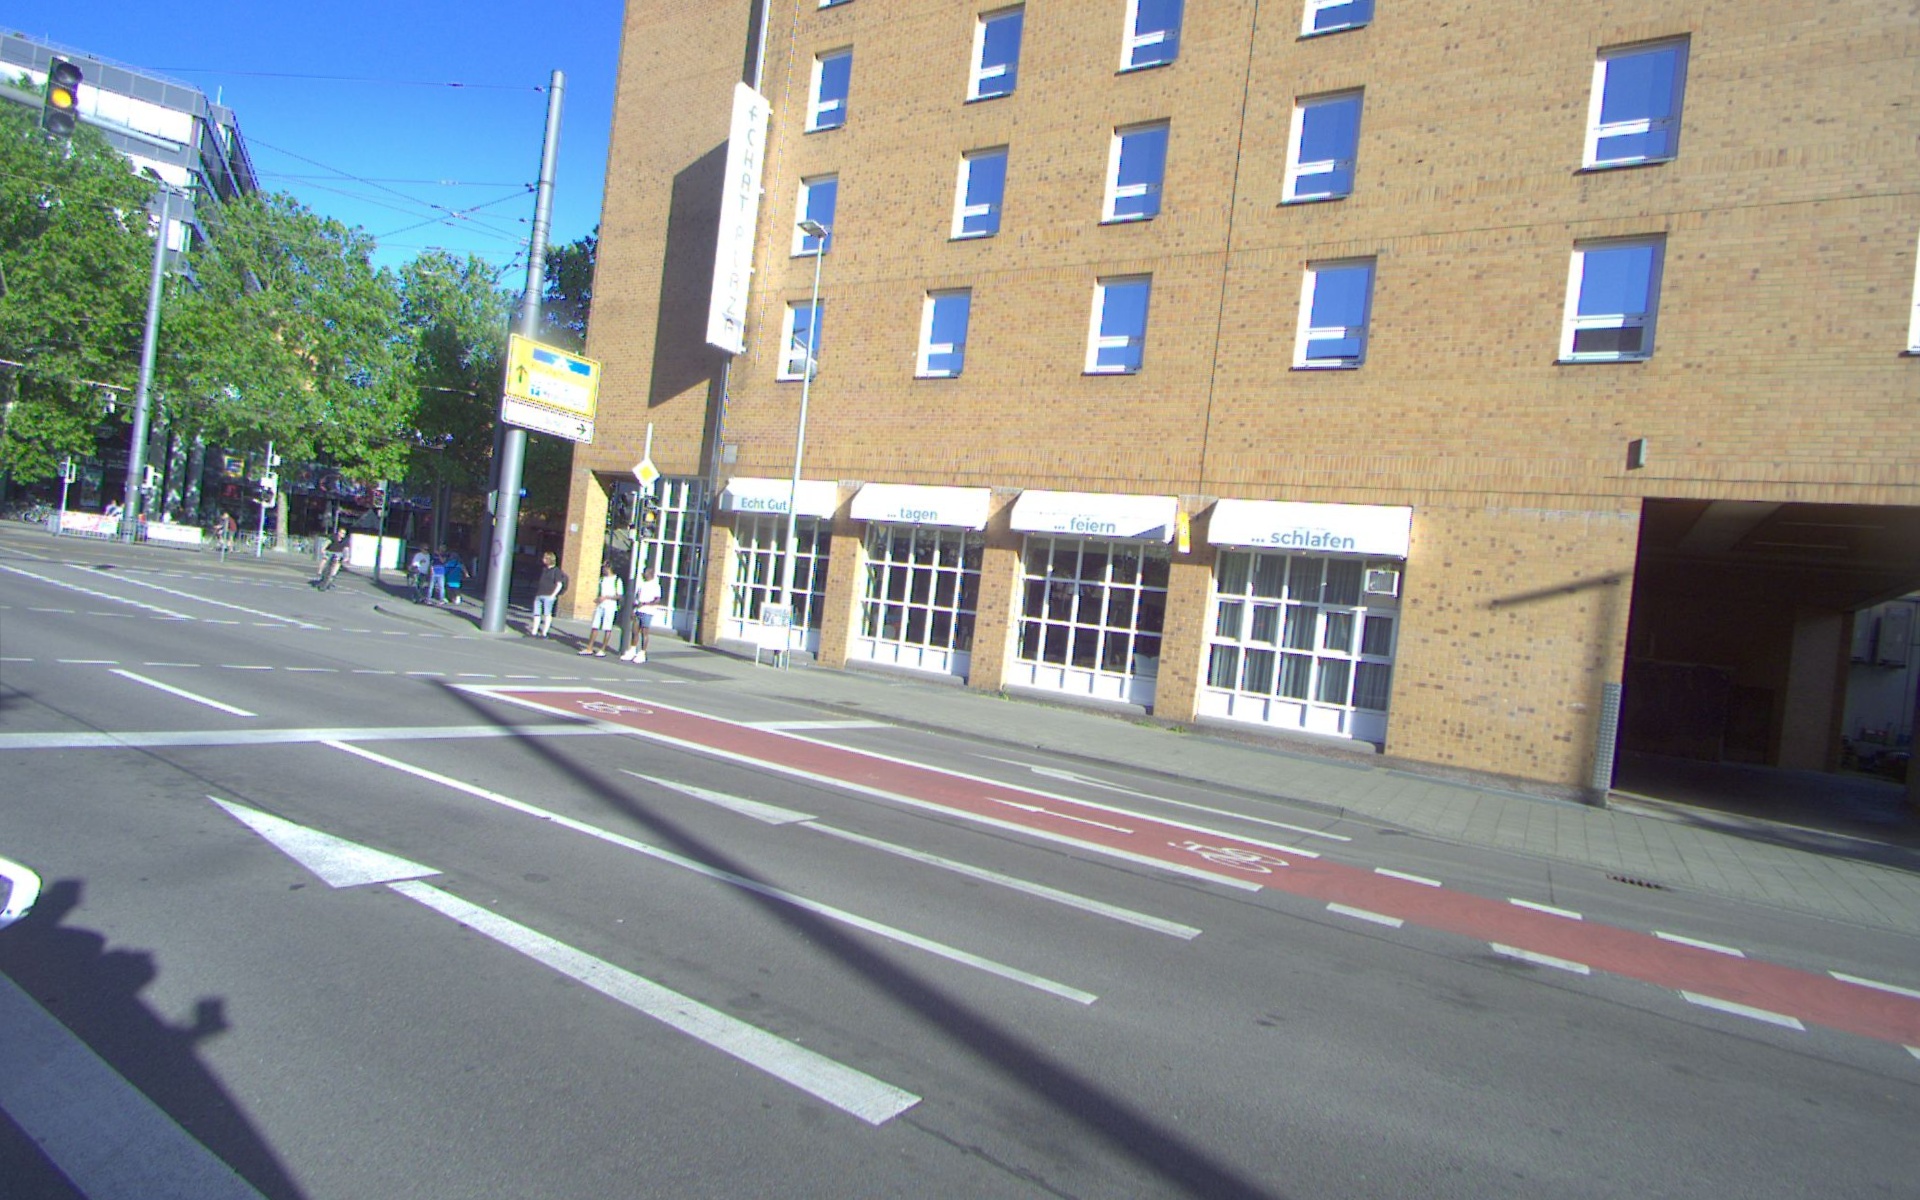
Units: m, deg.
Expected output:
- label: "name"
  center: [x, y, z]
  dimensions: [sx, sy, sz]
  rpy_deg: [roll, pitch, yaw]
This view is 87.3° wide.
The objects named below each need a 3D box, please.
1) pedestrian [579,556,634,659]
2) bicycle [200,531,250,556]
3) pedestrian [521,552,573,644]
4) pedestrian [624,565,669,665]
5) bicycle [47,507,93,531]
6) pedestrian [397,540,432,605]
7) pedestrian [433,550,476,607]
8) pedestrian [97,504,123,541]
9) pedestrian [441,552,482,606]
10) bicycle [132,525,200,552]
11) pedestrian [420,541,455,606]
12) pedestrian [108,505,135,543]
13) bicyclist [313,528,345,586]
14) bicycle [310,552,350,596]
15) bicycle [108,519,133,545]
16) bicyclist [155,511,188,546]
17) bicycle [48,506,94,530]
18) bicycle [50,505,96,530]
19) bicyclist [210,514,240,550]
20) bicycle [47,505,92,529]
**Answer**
- label: "pedestrian"
  center: [-6.649, 0.136, 18.953]
  dimensions: [0.719, 1.857, 0.497]
  rpy_deg: [6, 2, -3]
- label: "bicycle"
  center: [-36.275, -2.775, 49.662]
  dimensions: [0.642, 0.921, 1.854]
  rpy_deg: [7, -1, 36]
- label: "pedestrian"
  center: [-8.535, -0.038, 20.810]
  dimensions: [0.683, 1.789, 0.573]
  rpy_deg: [8, 0, -9]
- label: "pedestrian"
  center: [-5.837, 0.272, 18.727]
  dimensions: [0.568, 1.797, 0.405]
  rpy_deg: [5, 2, -3]
- label: "bicycle"
  center: [-46.672, -4.236, 52.754]
  dimensions: [1.700, 0.998, 0.386]
  rpy_deg: [7, 0, -45]
- label: "pedestrian"
  center: [-15.132, -0.763, 27.926]
  dimensions: [0.555, 1.723, 0.656]
  rpy_deg: [7, -1, -18]
- label: "pedestrian"
  center: [-15.154, -0.642, 30.155]
  dimensions: [0.729, 1.557, 0.677]
  rpy_deg: [7, -1, 24]
- label: "pedestrian"
  center: [-47.183, -4.314, 55.858]
  dimensions: [0.845, 1.873, 0.799]
  rpy_deg: [10, -2, -44]
- label: "pedestrian"
  center: [-15.436, -0.640, 31.165]
  dimensions: [0.729, 1.557, 0.652]
  rpy_deg: [7, -1, 24]
- label: "bicycle"
  center: [-47.948, -3.707, 60.769]
  dimensions: [0.822, 1.126, 3.042]
  rpy_deg: [7, -1, 36]
- label: "pedestrian"
  center: [-14.761, -0.742, 28.426]
  dimensions: [0.595, 1.747, 0.600]
  rpy_deg: [7, -1, -17]
- label: "pedestrian"
  center: [-38.868, -3.529, 46.661]
  dimensions: [0.766, 1.612, 0.829]
  rpy_deg: [8, -1, -38]
- label: "bicyclist"
  center: [-17.664, -1.202, 28.157]
  dimensions: [0.576, 1.536, 0.839]
  rpy_deg: [2, 6, -42]
- label: "bicycle"
  center: [-17.583, -0.737, 28.058]
  dimensions: [0.597, 1.065, 1.858]
  rpy_deg: [1, 5, -43]
- label: "bicycle"
  center: [-38.955, -3.140, 46.681]
  dimensions: [0.786, 1.064, 1.902]
  rpy_deg: [8, -2, -39]
- label: "bicyclist"
  center: [-47.752, -4.324, 60.946]
  dimensions: [0.822, 1.955, 1.226]
  rpy_deg: [7, 0, 37]
- label: "bicycle"
  center: [-46.023, -4.249, 52.088]
  dimensions: [1.700, 0.998, 0.386]
  rpy_deg: [7, 0, -45]
- label: "bicycle"
  center: [-45.404, -4.222, 51.506]
  dimensions: [1.700, 0.998, 0.386]
  rpy_deg: [7, 0, -45]
- label: "bicyclist"
  center: [-36.244, -3.349, 49.613]
  dimensions: [0.627, 1.635, 0.926]
  rpy_deg: [7, 0, 35]
- label: "bicycle"
  center: [-46.974, -4.389, 53.101]
  dimensions: [1.700, 0.998, 0.386]
  rpy_deg: [7, 0, -45]
